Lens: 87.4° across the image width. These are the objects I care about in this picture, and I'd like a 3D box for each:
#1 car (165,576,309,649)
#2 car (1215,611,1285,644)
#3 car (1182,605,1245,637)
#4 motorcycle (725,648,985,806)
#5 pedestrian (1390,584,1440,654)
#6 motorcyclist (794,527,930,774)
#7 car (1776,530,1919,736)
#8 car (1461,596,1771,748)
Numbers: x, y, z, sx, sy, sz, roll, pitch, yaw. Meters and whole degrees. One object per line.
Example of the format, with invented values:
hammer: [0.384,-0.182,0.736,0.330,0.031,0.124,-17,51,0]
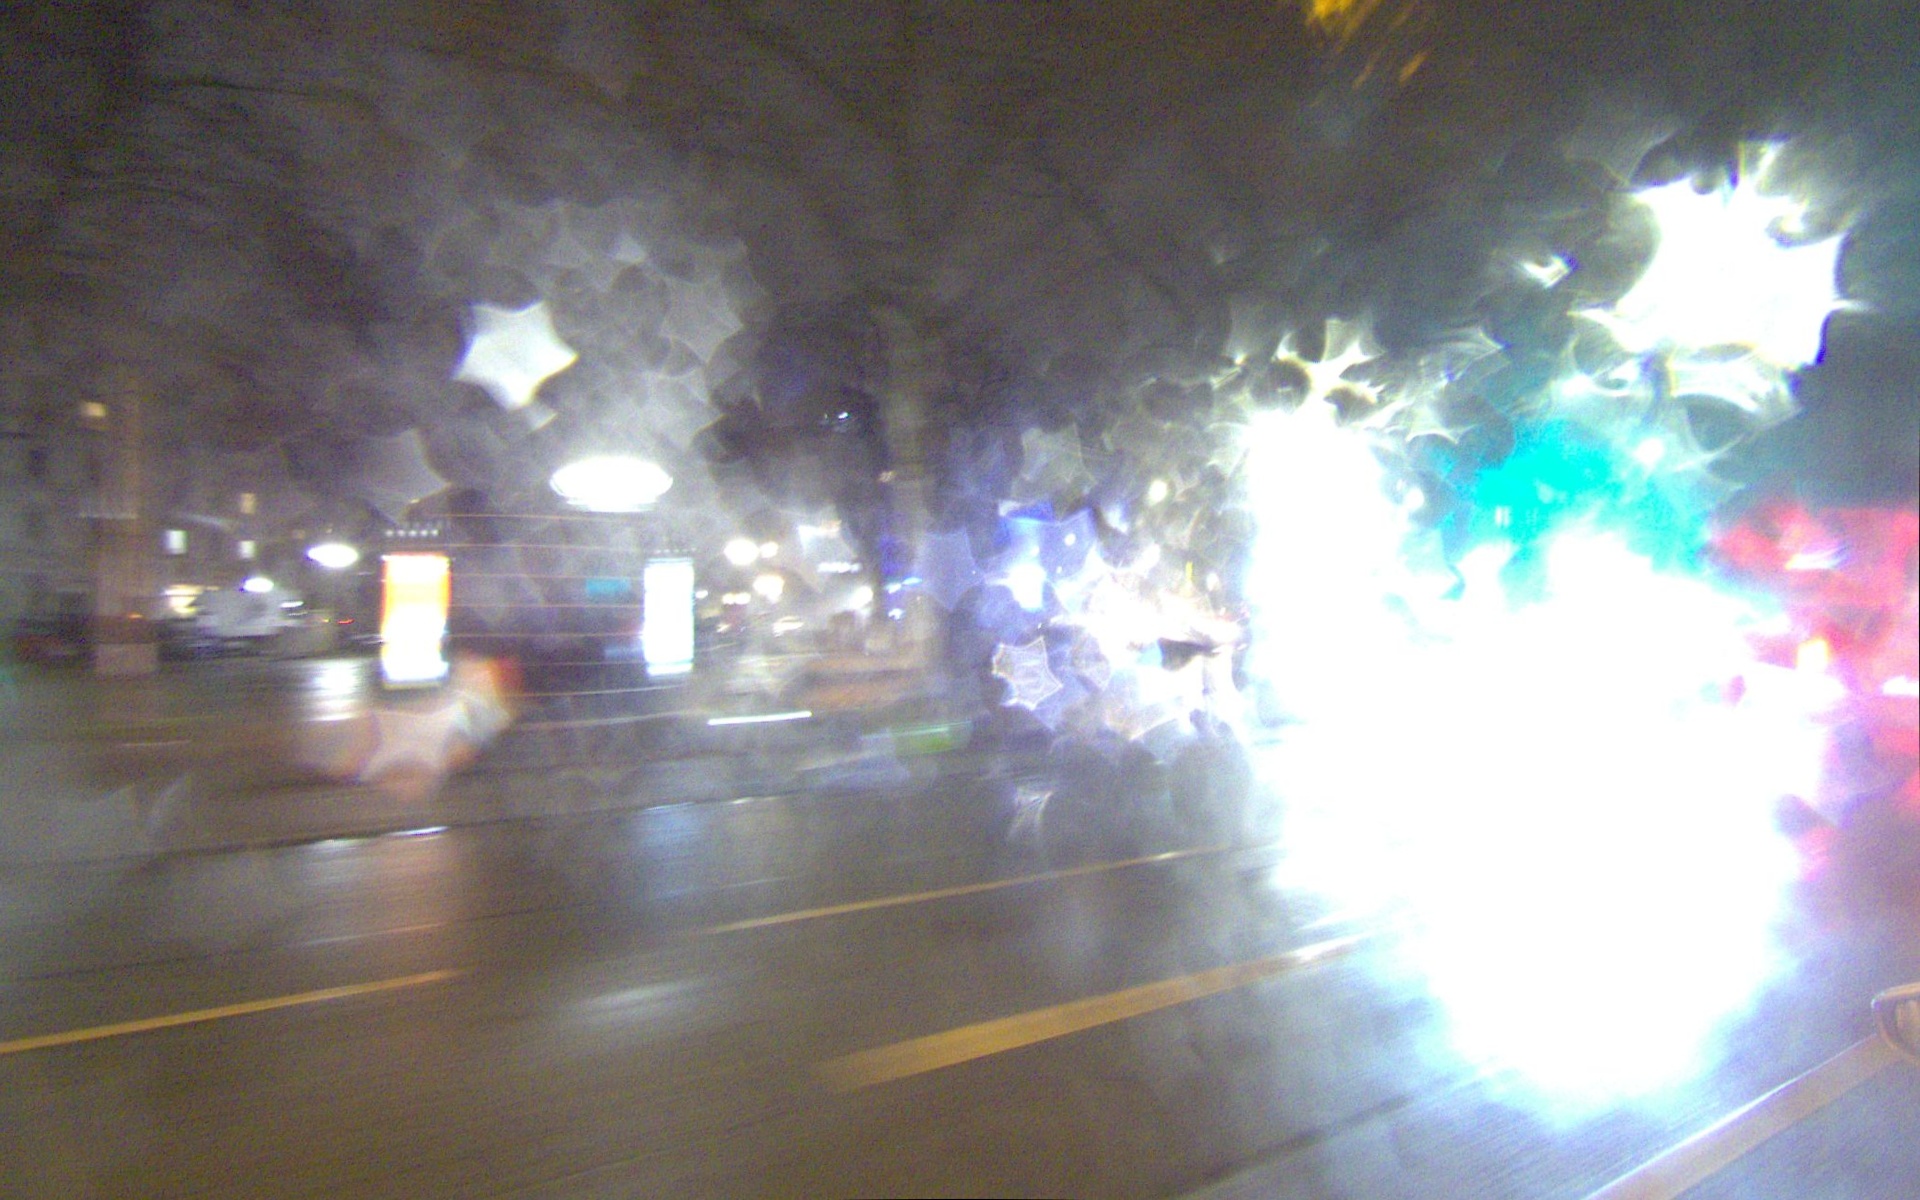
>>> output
car: [-28.534,0.489,39.772,4.274,2.767,1.717,-1,0,-8]
car: [15.105,1.396,52.510,1.863,1.590,4.327,-1,-1,-8]
car: [14.811,1.217,58.955,1.863,1.766,4.733,-1,-1,-8]
motorcycle: [-0.904,1.054,8.821,2.146,1.154,0.699,-1,0,-26]
pedestrian: [11.640,0.490,25.729,0.950,1.759,0.771,-1,0,6]
motorcyclist: [-0.869,0.413,8.840,0.969,2.040,0.691,-1,0,-26]
car: [11.412,0.262,11.102,5.139,1.979,2.024,-2,-2,-31]
car: [8.156,0.794,12.395,4.064,1.531,1.637,-1,-2,-33]
